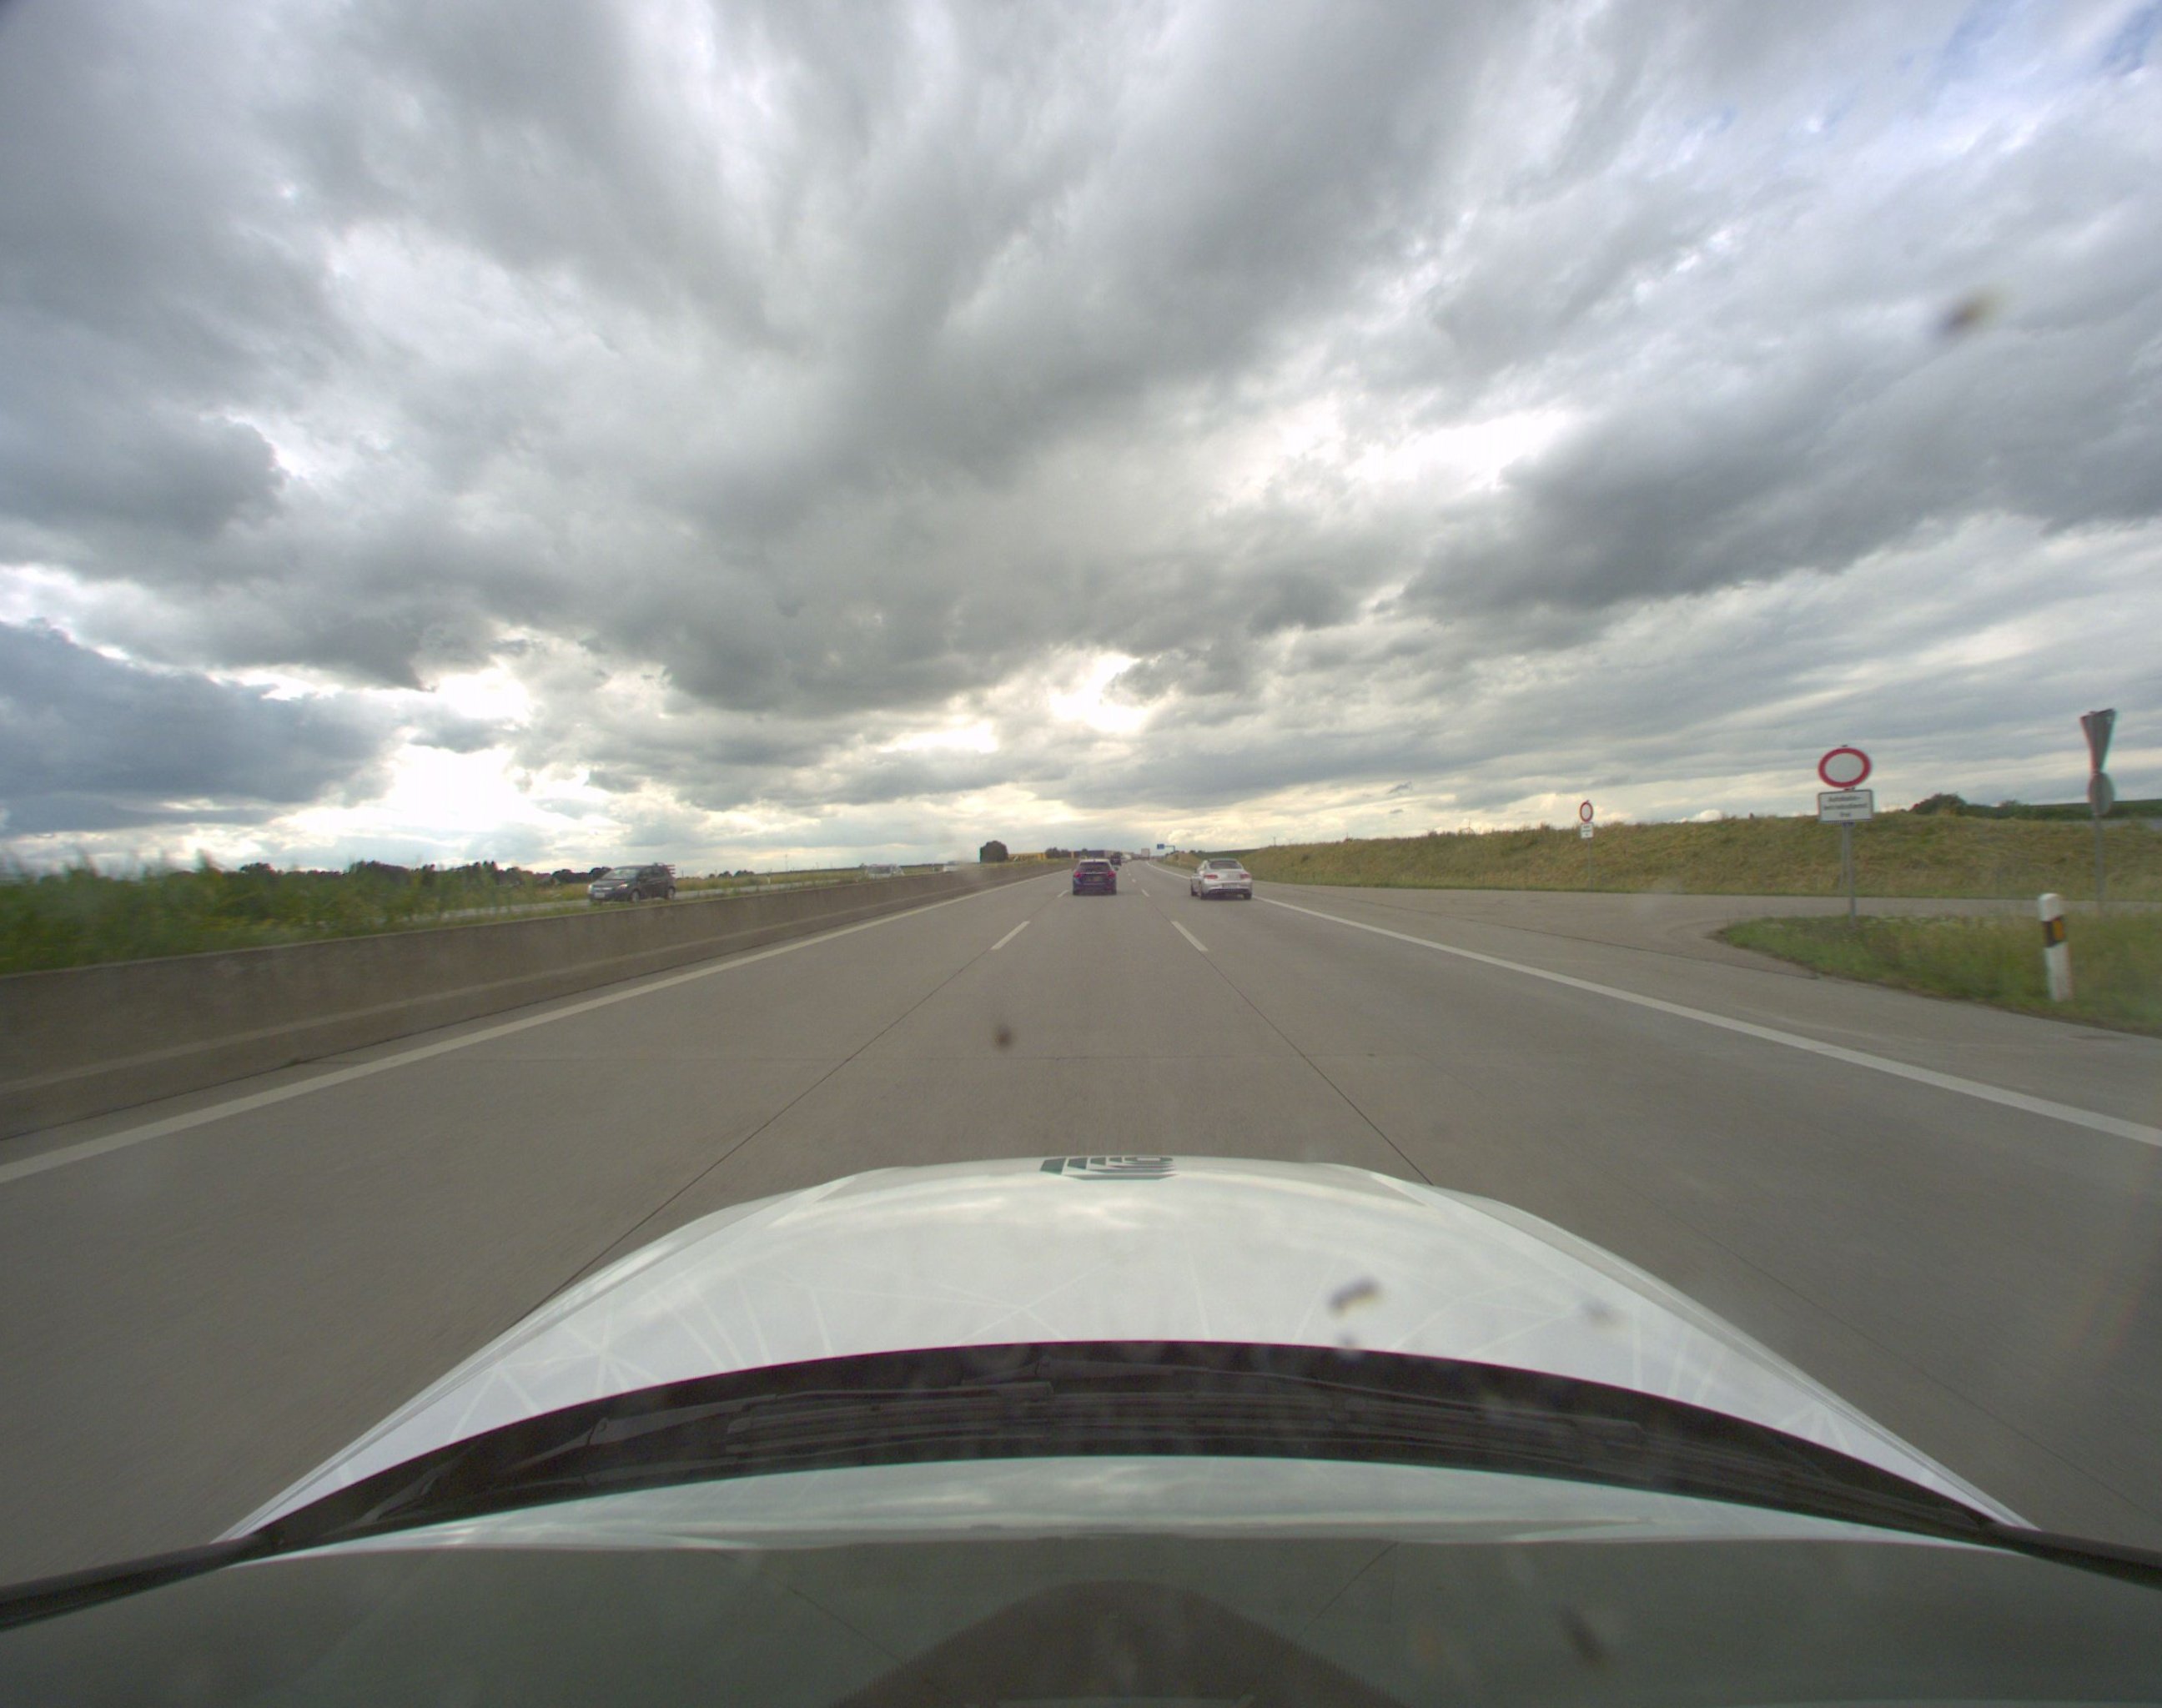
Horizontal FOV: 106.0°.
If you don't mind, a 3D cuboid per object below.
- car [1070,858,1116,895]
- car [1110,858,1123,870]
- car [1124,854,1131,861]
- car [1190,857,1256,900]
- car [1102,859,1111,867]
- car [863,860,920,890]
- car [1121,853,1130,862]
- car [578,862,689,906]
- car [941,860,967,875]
[{"bbox_3d":[0.486,0.904,34.023,1.769,1.413,4.000,-1,-1,0],"label":"car"},{"bbox_3d":[5.930,1.729,136.034,1.988,2.014,3.996,0,-1,-2],"label":"car"},{"bbox_3d":[13.861,1.032,241.091,1.985,2.014,4.002,-1,-1,2],"label":"car"},{"bbox_3d":[5.033,0.834,29.440,1.782,1.403,4.223,-1,-1,2],"label":"car"},{"bbox_3d":[6.252,2.163,199.475,2.038,2.014,4.002,-1,-1,2],"label":"car"},{"bbox_3d":[-10.240,1.118,44.374,1.717,1.537,5.041,-1,-1,2],"label":"car"},{"bbox_3d":[10.419,0.831,191.486,1.985,2.014,4.004,0,0,4],"label":"car"},{"bbox_3d":[-18.468,1.167,33.906,1.742,1.640,4.946,-1,0,2],"label":"car"},{"bbox_3d":[-13.007,1.378,83.693,1.771,1.507,4.519,-1,-1,2],"label":"car"}]
